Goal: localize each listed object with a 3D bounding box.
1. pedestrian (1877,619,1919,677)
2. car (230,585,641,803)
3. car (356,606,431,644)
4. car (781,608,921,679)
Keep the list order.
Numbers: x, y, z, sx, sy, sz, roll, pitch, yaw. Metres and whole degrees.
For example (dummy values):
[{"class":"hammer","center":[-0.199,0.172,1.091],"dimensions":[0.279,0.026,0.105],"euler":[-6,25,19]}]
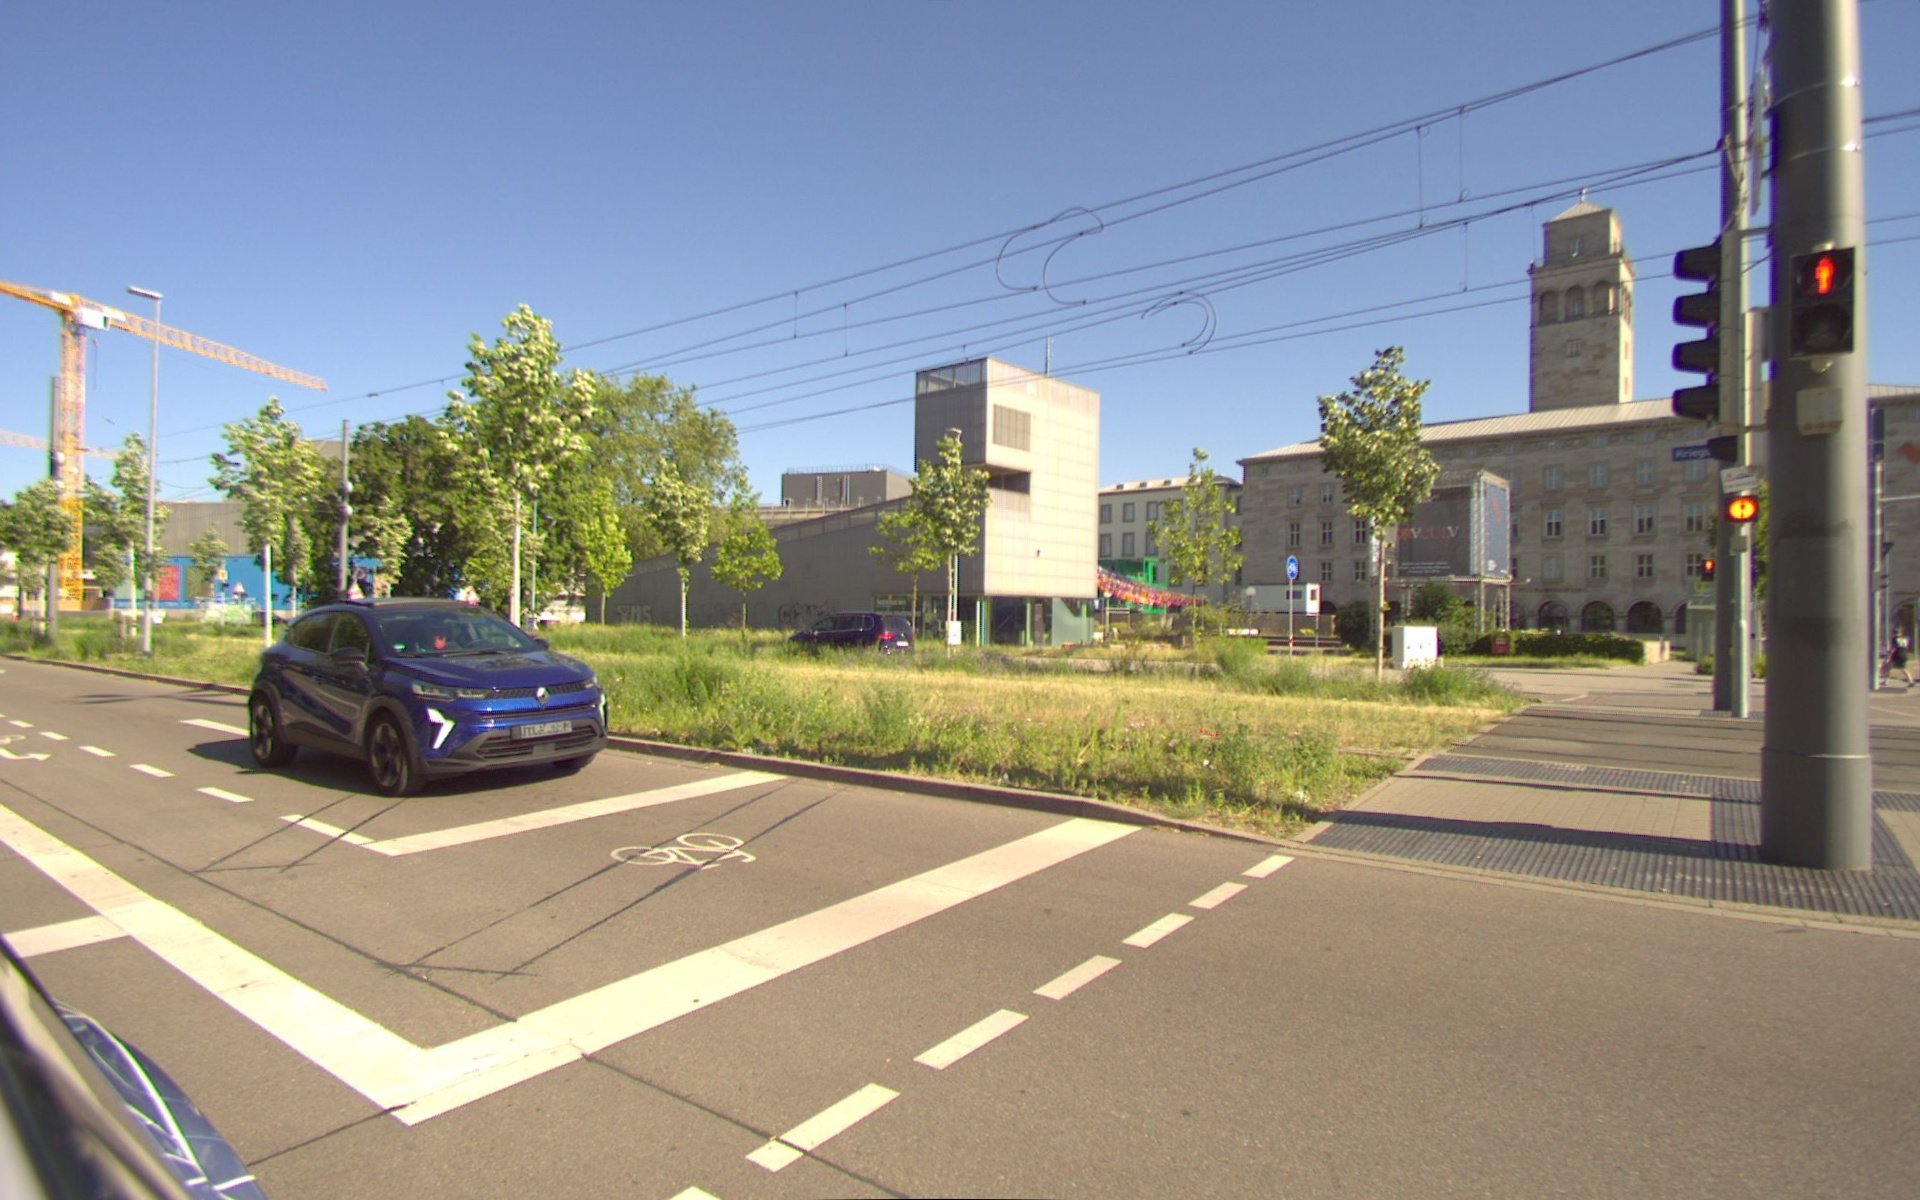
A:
[{"class":"pedestrian","center":[28.486,1.449,30.639],"dimensions":[0.946,1.698,1.180],"euler":[-2,-2,38]},{"class":"car","center":[-4.950,0.689,9.358],"dimensions":[4.080,1.600,1.754],"euler":[0,0,36]},{"class":"car","center":[-26.914,1.165,48.023],"dimensions":[4.089,1.702,1.807],"euler":[-1,-1,41]},{"class":"car","center":[-3.271,1.240,30.088],"dimensions":[3.994,1.970,1.852],"euler":[-1,-2,38]}]
